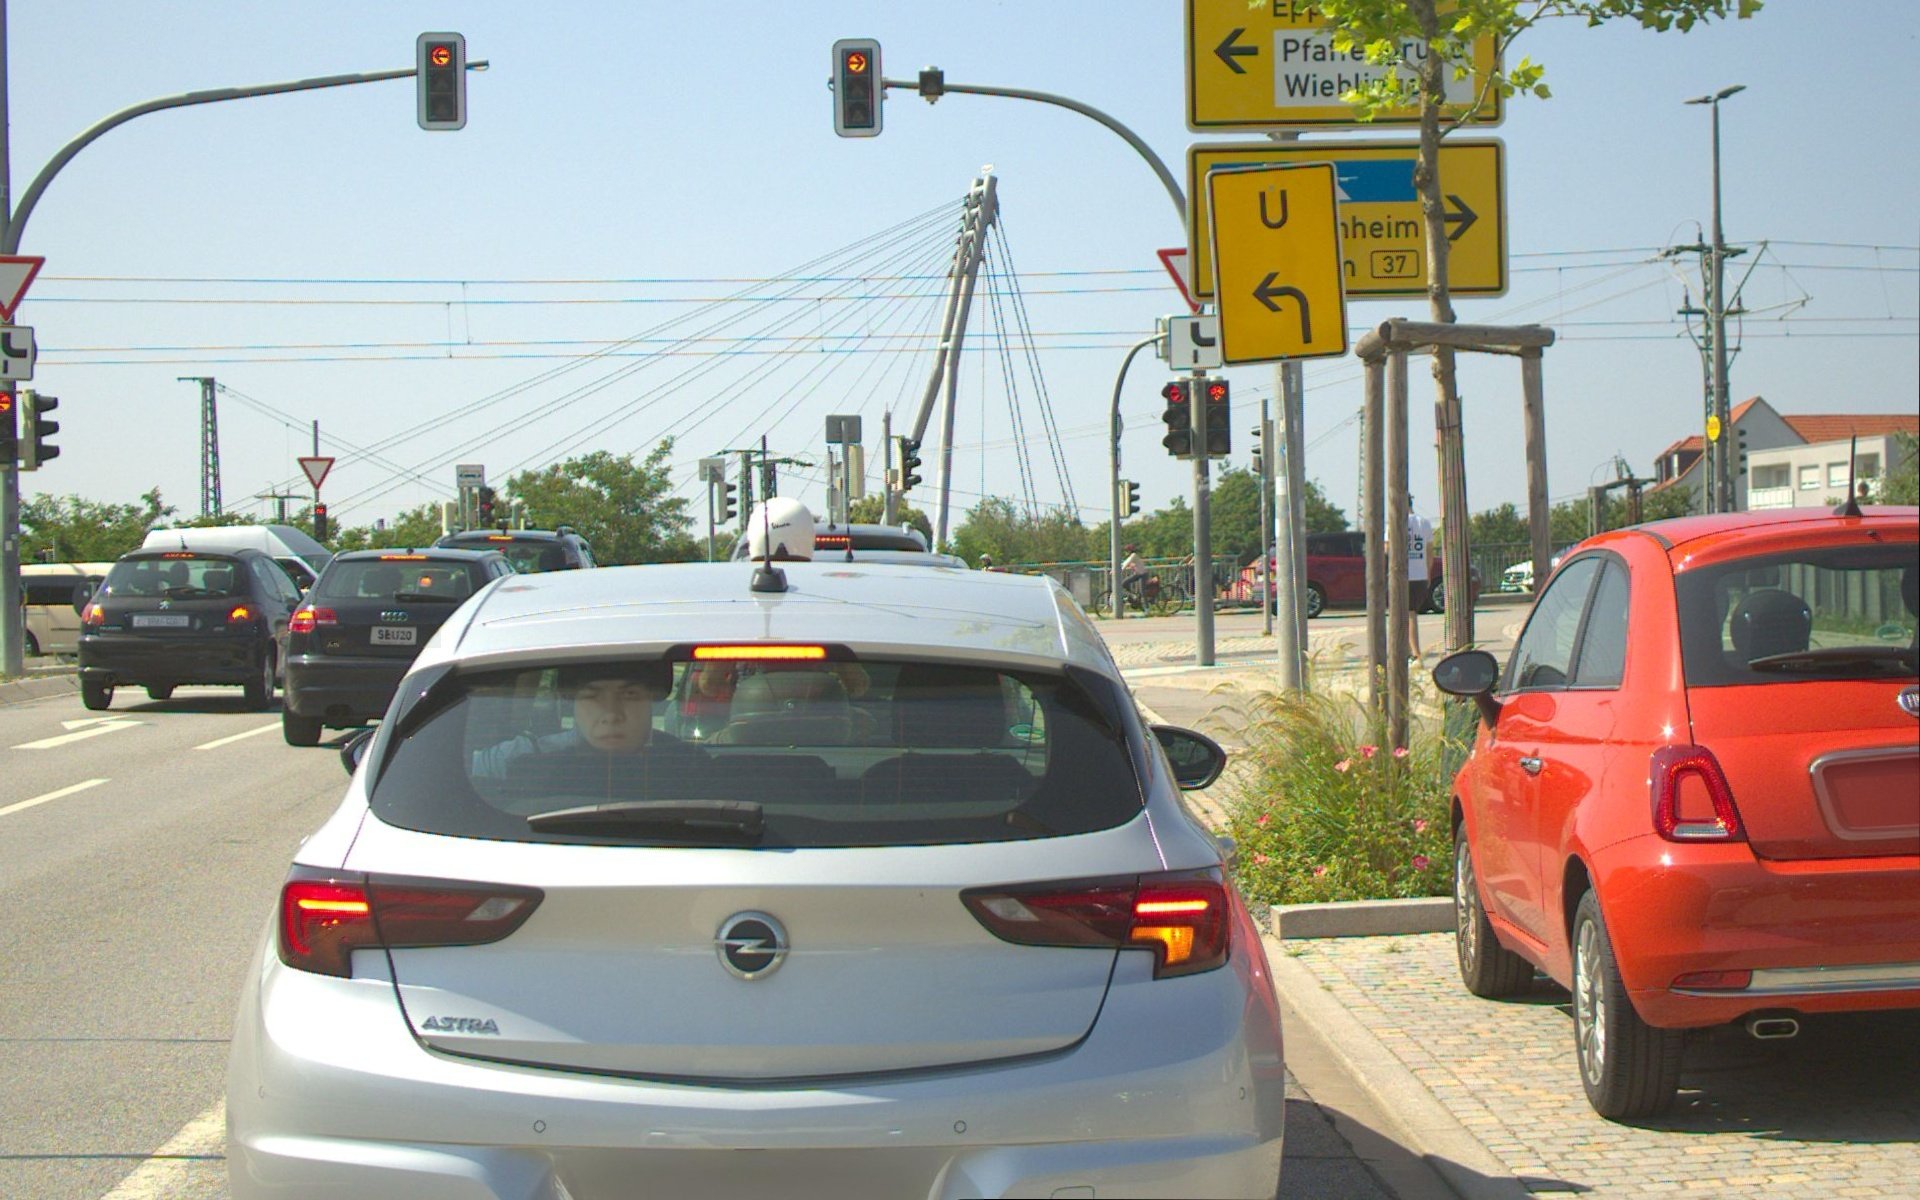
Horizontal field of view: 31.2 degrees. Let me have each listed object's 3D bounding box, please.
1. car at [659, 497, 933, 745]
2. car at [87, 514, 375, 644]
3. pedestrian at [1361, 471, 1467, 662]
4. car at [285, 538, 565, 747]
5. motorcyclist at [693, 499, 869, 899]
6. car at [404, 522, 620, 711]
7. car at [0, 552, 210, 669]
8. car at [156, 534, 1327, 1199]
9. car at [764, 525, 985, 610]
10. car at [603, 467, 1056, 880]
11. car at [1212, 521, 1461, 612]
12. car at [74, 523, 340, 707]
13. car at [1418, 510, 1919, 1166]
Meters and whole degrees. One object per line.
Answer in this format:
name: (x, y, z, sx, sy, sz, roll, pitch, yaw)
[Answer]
car: (-1.060, 0.077, 23.916, 1.724, 1.558, 4.000, 1, 2, 0)
car: (-13.617, -0.400, 64.234, 5.003, 2.368, 1.783, 0, 0, 15)
pedestrian: (4.419, -0.329, 33.465, 0.796, 1.830, 0.649, -1, 1, -44)
car: (-3.923, 0.274, 25.722, 1.575, 1.429, 3.786, 1, 1, -1)
motorcyclist: (-0.632, 0.342, 12.303, 0.581, 1.384, 0.707, 1, 0, -1)
car: (-4.055, 0.120, 31.593, 1.649, 1.610, 3.821, 1, 1, -3)
car: (-16.118, 0.157, 61.883, 4.706, 2.007, 1.998, 1, 0, 17)
car: (-0.432, 0.628, 7.159, 1.742, 1.473, 4.001, 1, 1, -3)
car: (-1.590, -0.599, 63.310, 3.986, 1.477, 2.000, 1, 0, -3)
car: (-0.606, 0.271, 17.523, 1.993, 1.814, 4.402, 1, 2, -1)
car: (6.921, -0.612, 63.363, 4.274, 1.626, 1.756, 0, 0, -7)
car: (-6.736, 0.111, 31.085, 1.597, 1.542, 3.762, 1, 1, -1)
car: (2.340, 0.518, 9.751, 1.610, 1.491, 3.352, -2, 1, 1)
